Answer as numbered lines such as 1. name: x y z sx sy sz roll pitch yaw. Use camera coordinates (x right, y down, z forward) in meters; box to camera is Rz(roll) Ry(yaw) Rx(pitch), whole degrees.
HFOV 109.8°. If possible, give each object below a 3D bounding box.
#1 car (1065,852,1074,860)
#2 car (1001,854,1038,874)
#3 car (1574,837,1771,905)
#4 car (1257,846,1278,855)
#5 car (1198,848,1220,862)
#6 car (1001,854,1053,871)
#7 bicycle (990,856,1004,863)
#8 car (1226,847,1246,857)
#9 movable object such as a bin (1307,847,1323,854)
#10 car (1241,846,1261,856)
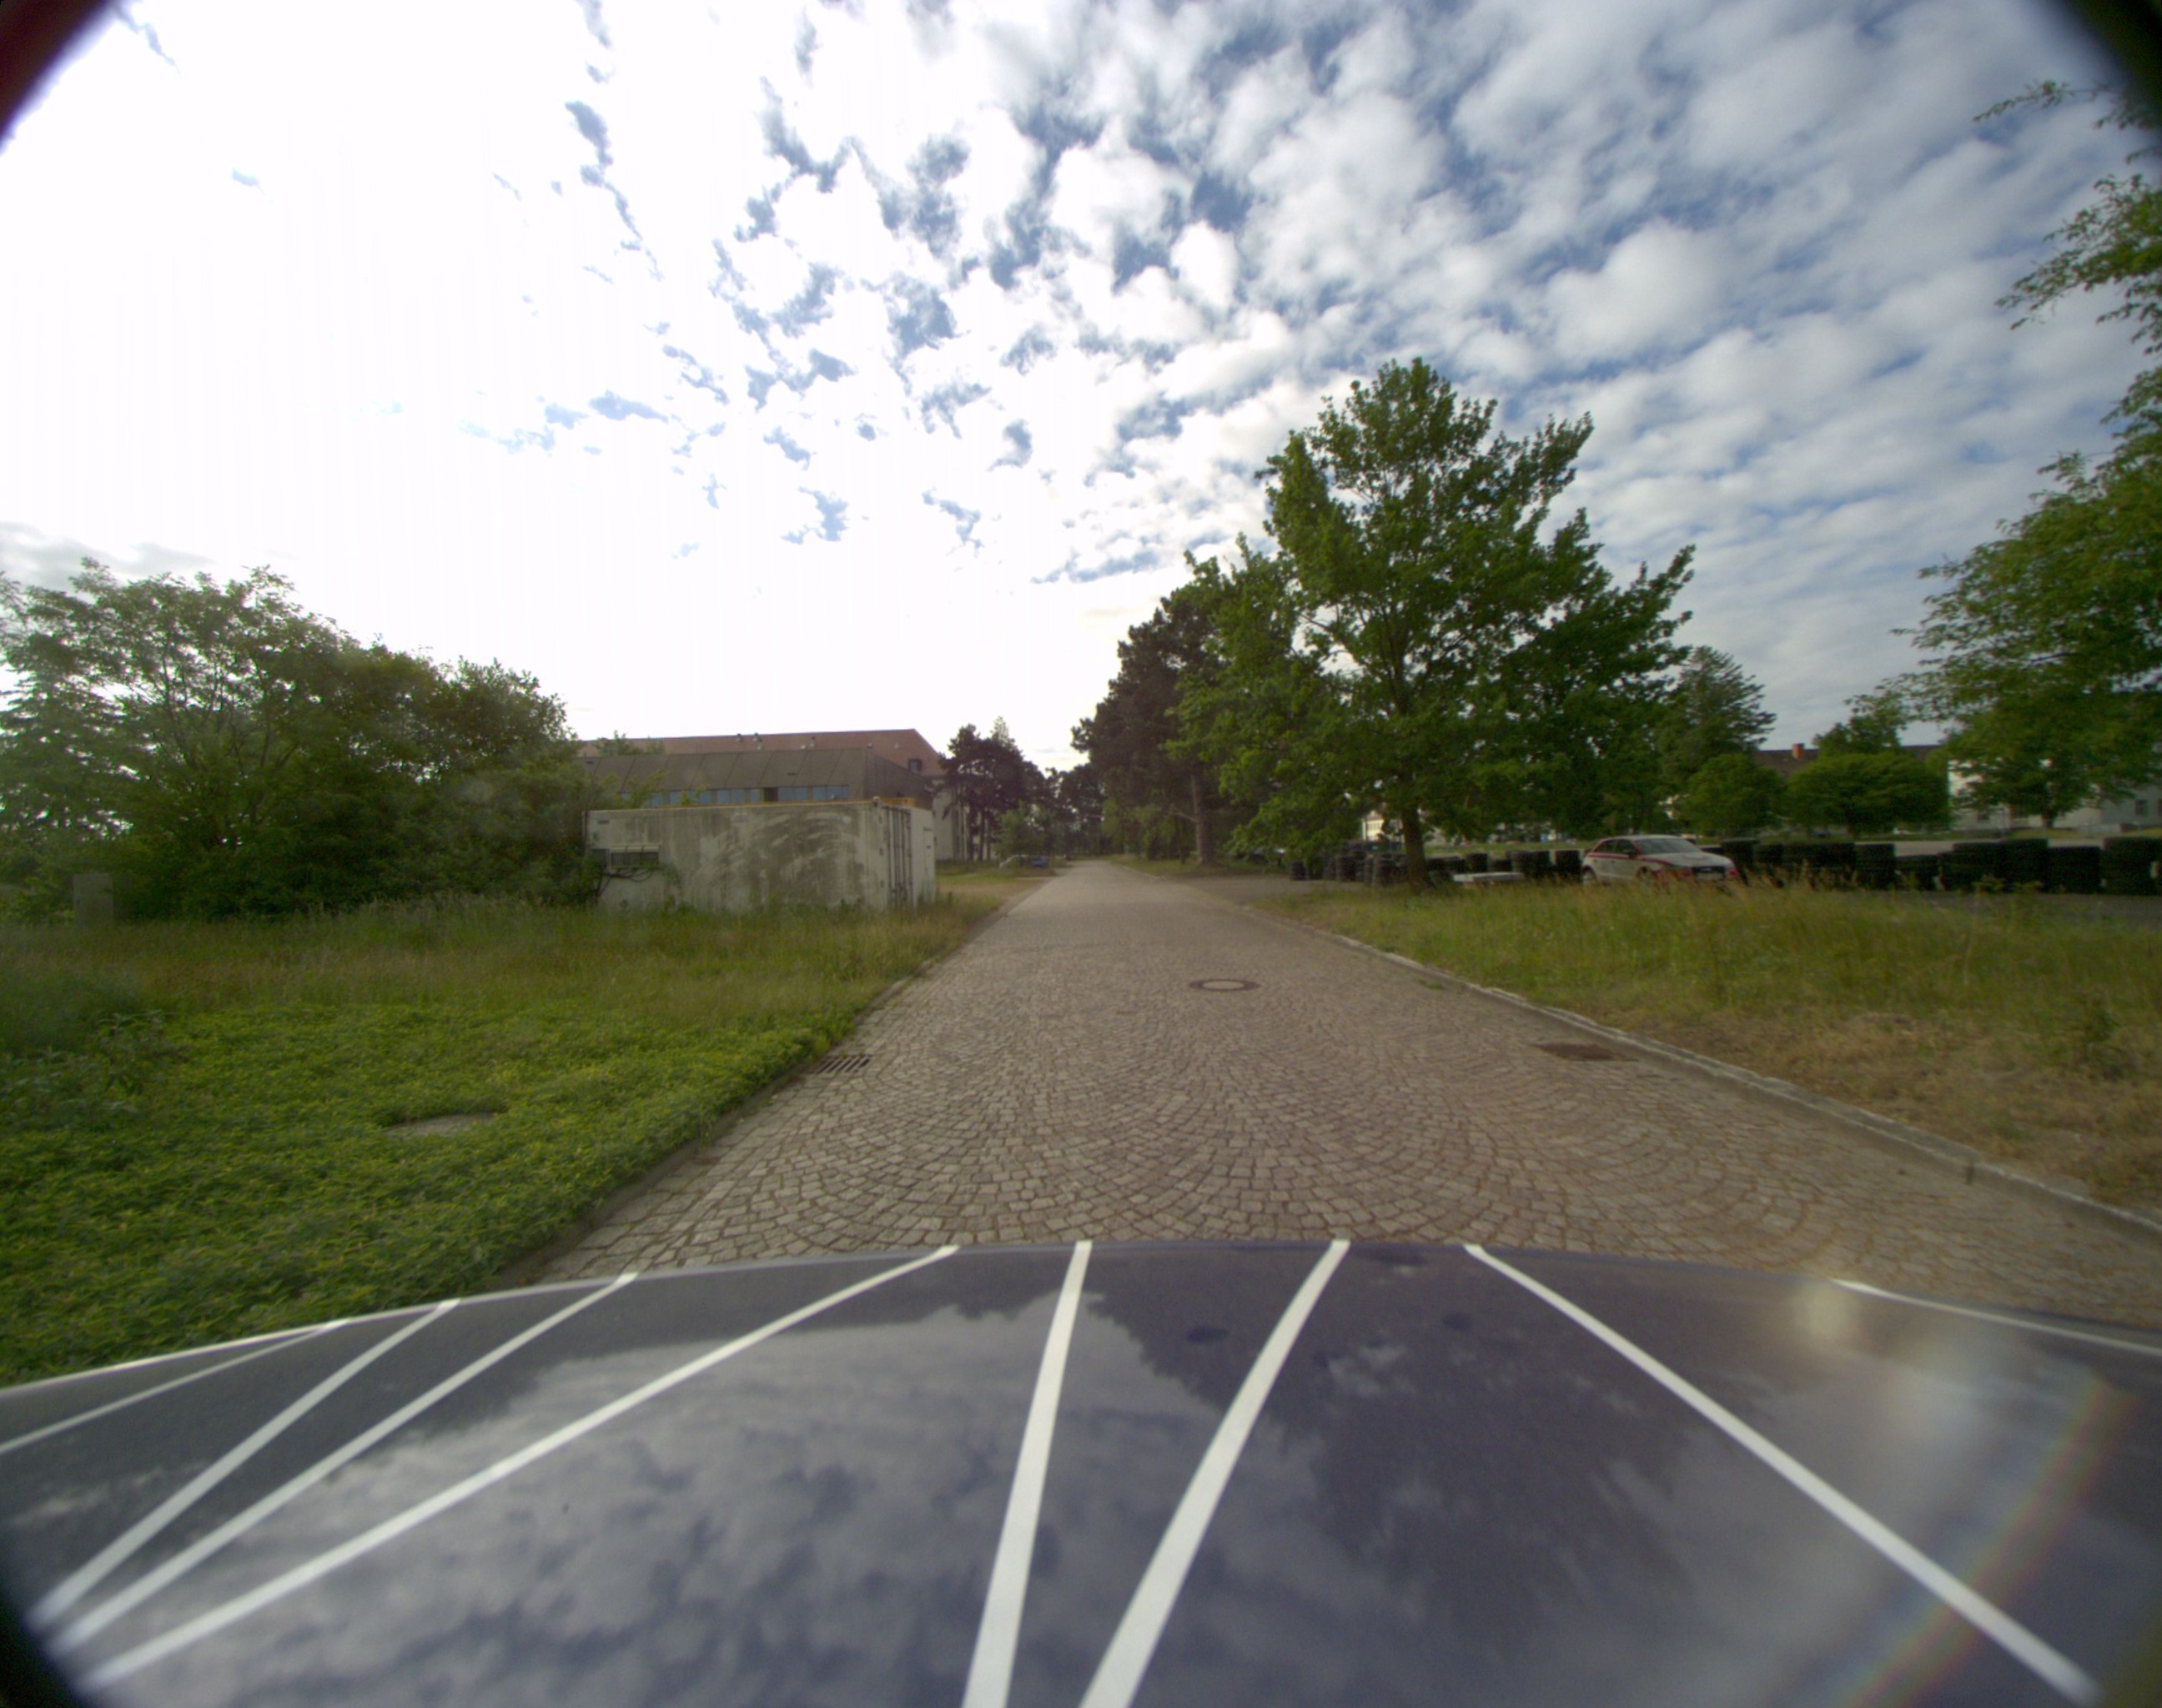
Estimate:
1. car: -2.781 0.391 182.722 1.999 1.777 3.998 -2 0 -5
2. car: -4.888 0.782 60.419 2.748 1.573 1.682 1 0 1
3. car: 14.122 0.367 18.506 1.827 1.423 4.220 -2 0 6
4. car: 29.345 -0.538 119.771 1.999 1.441 4.452 -2 0 -3
5. car: 13.769 0.121 81.777 1.670 1.402 3.723 -2 0 -2
6. car: -4.779 0.764 67.707 4.537 1.441 1.931 1 0 -2
7. bicycle: -13.965 0.874 125.987 2.164 1.089 0.717 -2 1 -3
8. car: 24.252 -0.352 119.243 1.999 1.441 4.452 -2 0 -3
9. movable object such as a bin: 33.117 -0.500 107.458 1.057 1.065 2.719 -2 0 -8
10. car: 26.763 -0.447 119.698 1.999 1.441 4.452 -2 0 -3
